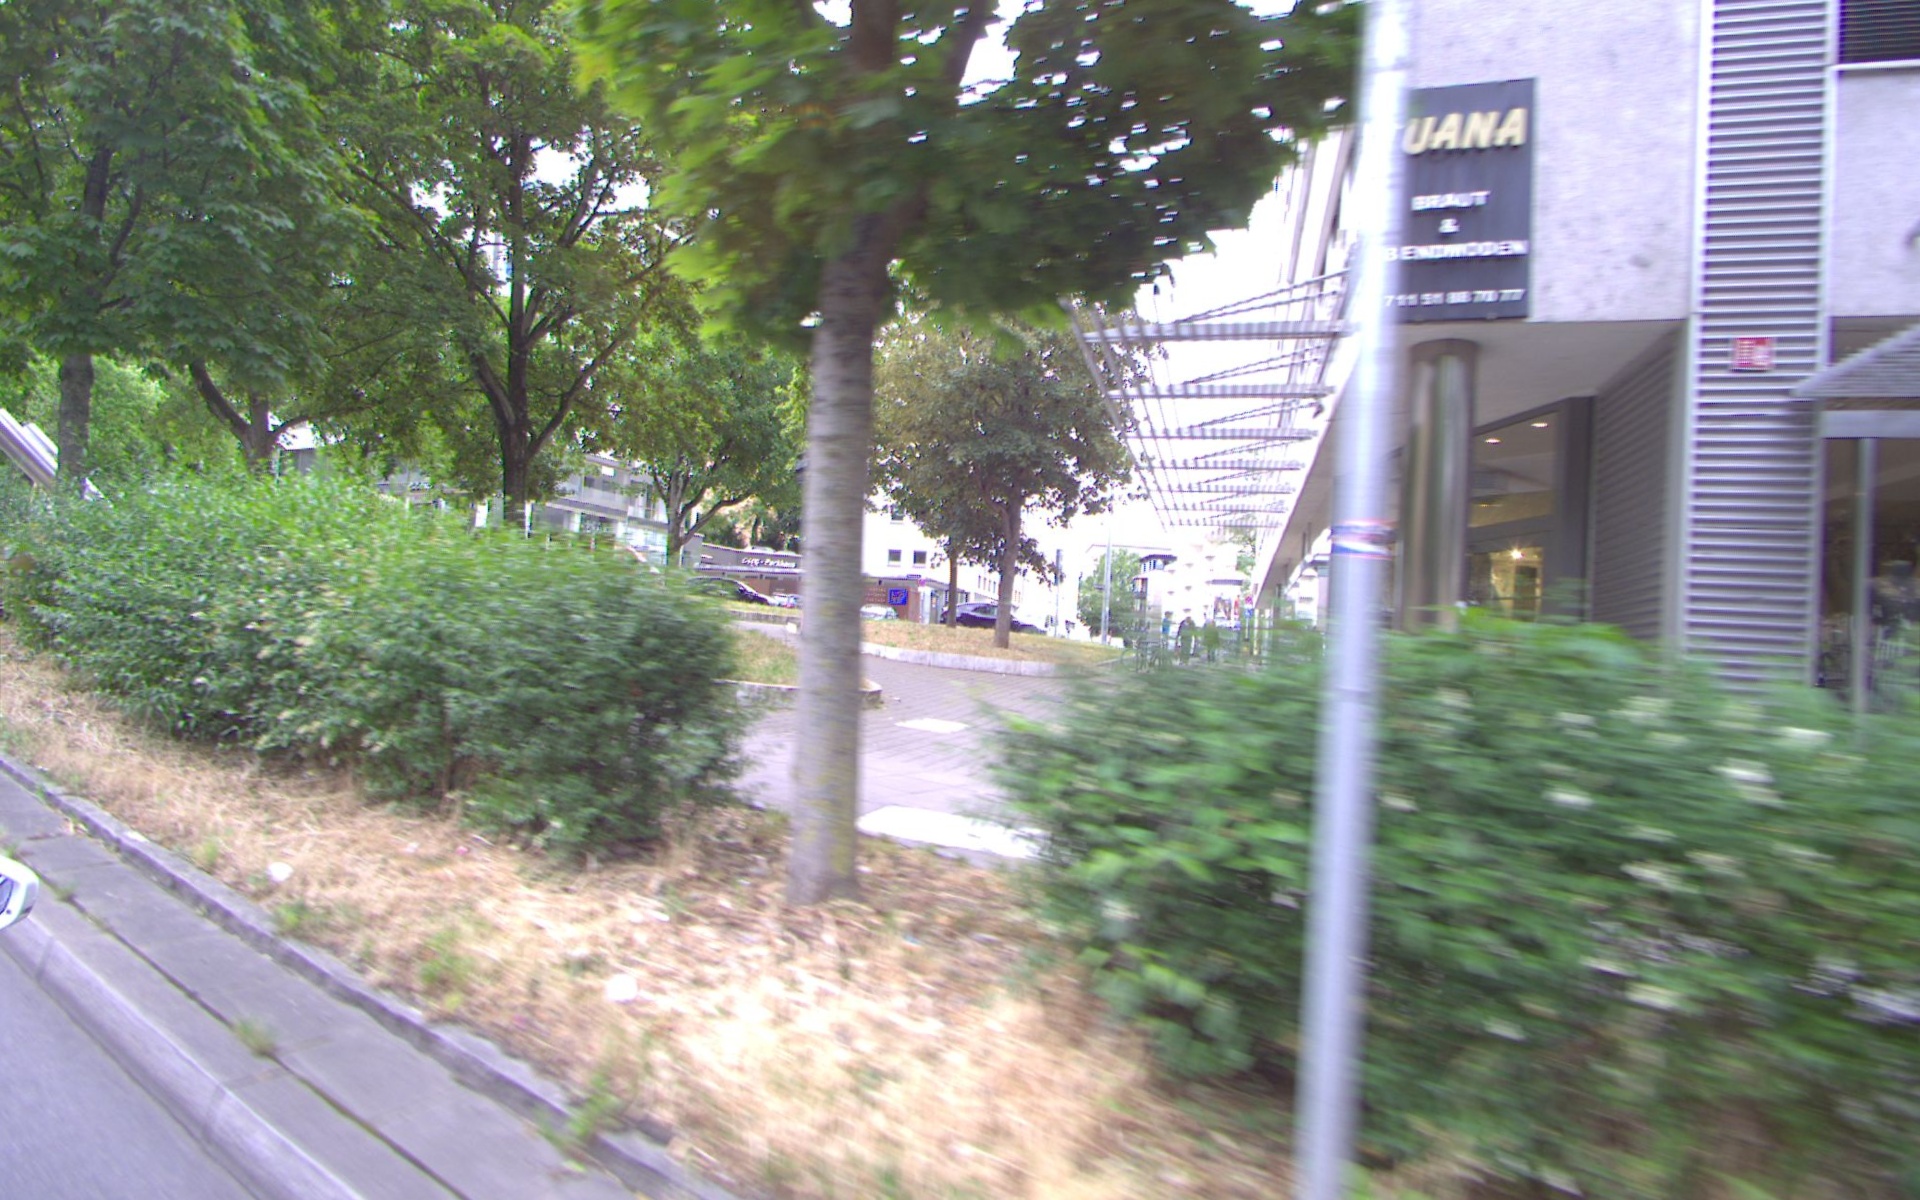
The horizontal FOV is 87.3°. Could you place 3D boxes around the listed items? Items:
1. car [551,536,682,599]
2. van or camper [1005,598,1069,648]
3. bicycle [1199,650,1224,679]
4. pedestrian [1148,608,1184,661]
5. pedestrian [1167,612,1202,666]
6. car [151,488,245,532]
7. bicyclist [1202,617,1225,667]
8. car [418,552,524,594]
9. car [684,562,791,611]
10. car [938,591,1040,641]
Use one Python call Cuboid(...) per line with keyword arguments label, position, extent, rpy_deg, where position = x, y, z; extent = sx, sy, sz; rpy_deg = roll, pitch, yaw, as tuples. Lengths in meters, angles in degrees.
Cuboid(label="car", position=(-15.075, -1.413, 44.322), extent=(4.887, 2.049, 2.034), rpy_deg=(6, -4, 6))
Cuboid(label="van or camper", position=(4.625, 1.426, 59.329), extent=(2.258, 2.254, 5.452), rpy_deg=(5, -5, 19))
Cuboid(label="bicycle", position=(8.364, 2.148, 33.469), extent=(0.510, 0.869, 1.543), rpy_deg=(6, -1, 22))
Cuboid(label="pedestrian", position=(7.947, 1.354, 38.899), extent=(1.138, 1.841, 1.028), rpy_deg=(6, -4, 10))
Cuboid(label="pedestrian", position=(7.699, 1.354, 34.479), extent=(0.861, 1.721, 0.880), rpy_deg=(6, -1, 23))
Cuboid(label="car", position=(-47.929, -5.626, 63.350), extent=(1.965, 2.038, 4.139), rpy_deg=(6, -1, 27))
Cuboid(label="bicyclist", position=(8.459, 1.400, 33.514), extent=(0.504, 1.621, 0.596), rpy_deg=(6, 0, 23))
Cuboid(label="car", position=(-21.774, -1.193, 44.859), extent=(3.847, 1.292, 1.624), rpy_deg=(6, -4, 7))
Cuboid(label="car", position=(-9.641, -0.568, 43.823), extent=(4.070, 1.524, 1.757), rpy_deg=(6, -4, 5))
Cuboid(label="car", position=(1.269, 0.691, 42.657), extent=(4.070, 1.514, 1.757), rpy_deg=(6, -4, 6))
